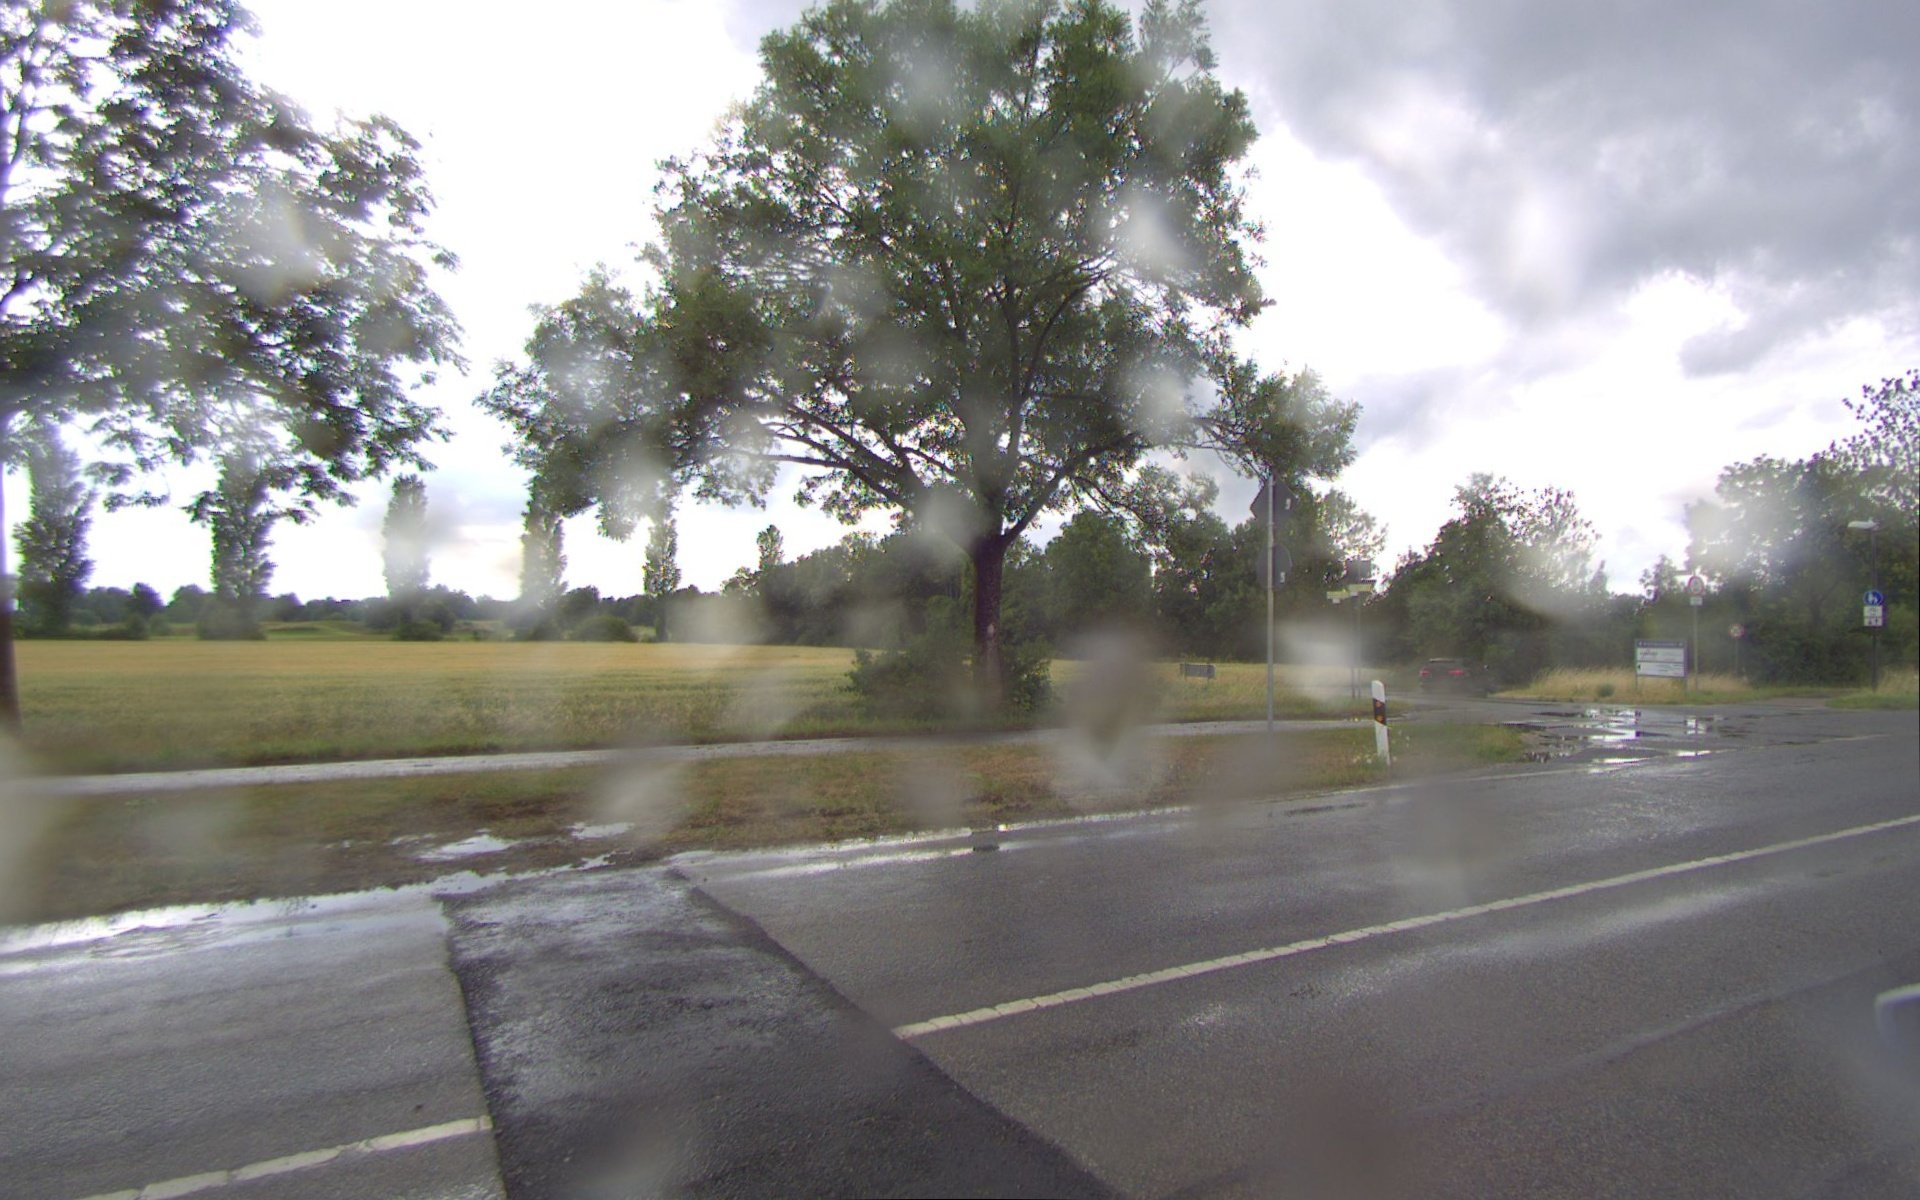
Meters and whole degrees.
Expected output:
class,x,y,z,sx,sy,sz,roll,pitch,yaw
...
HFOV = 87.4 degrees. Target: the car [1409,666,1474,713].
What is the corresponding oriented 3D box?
class,x,y,z,sx,sy,sz,roll,pitch,yaw
car,20.479,3.746,42.649,2.267,1.568,4.626,2,-1,28
